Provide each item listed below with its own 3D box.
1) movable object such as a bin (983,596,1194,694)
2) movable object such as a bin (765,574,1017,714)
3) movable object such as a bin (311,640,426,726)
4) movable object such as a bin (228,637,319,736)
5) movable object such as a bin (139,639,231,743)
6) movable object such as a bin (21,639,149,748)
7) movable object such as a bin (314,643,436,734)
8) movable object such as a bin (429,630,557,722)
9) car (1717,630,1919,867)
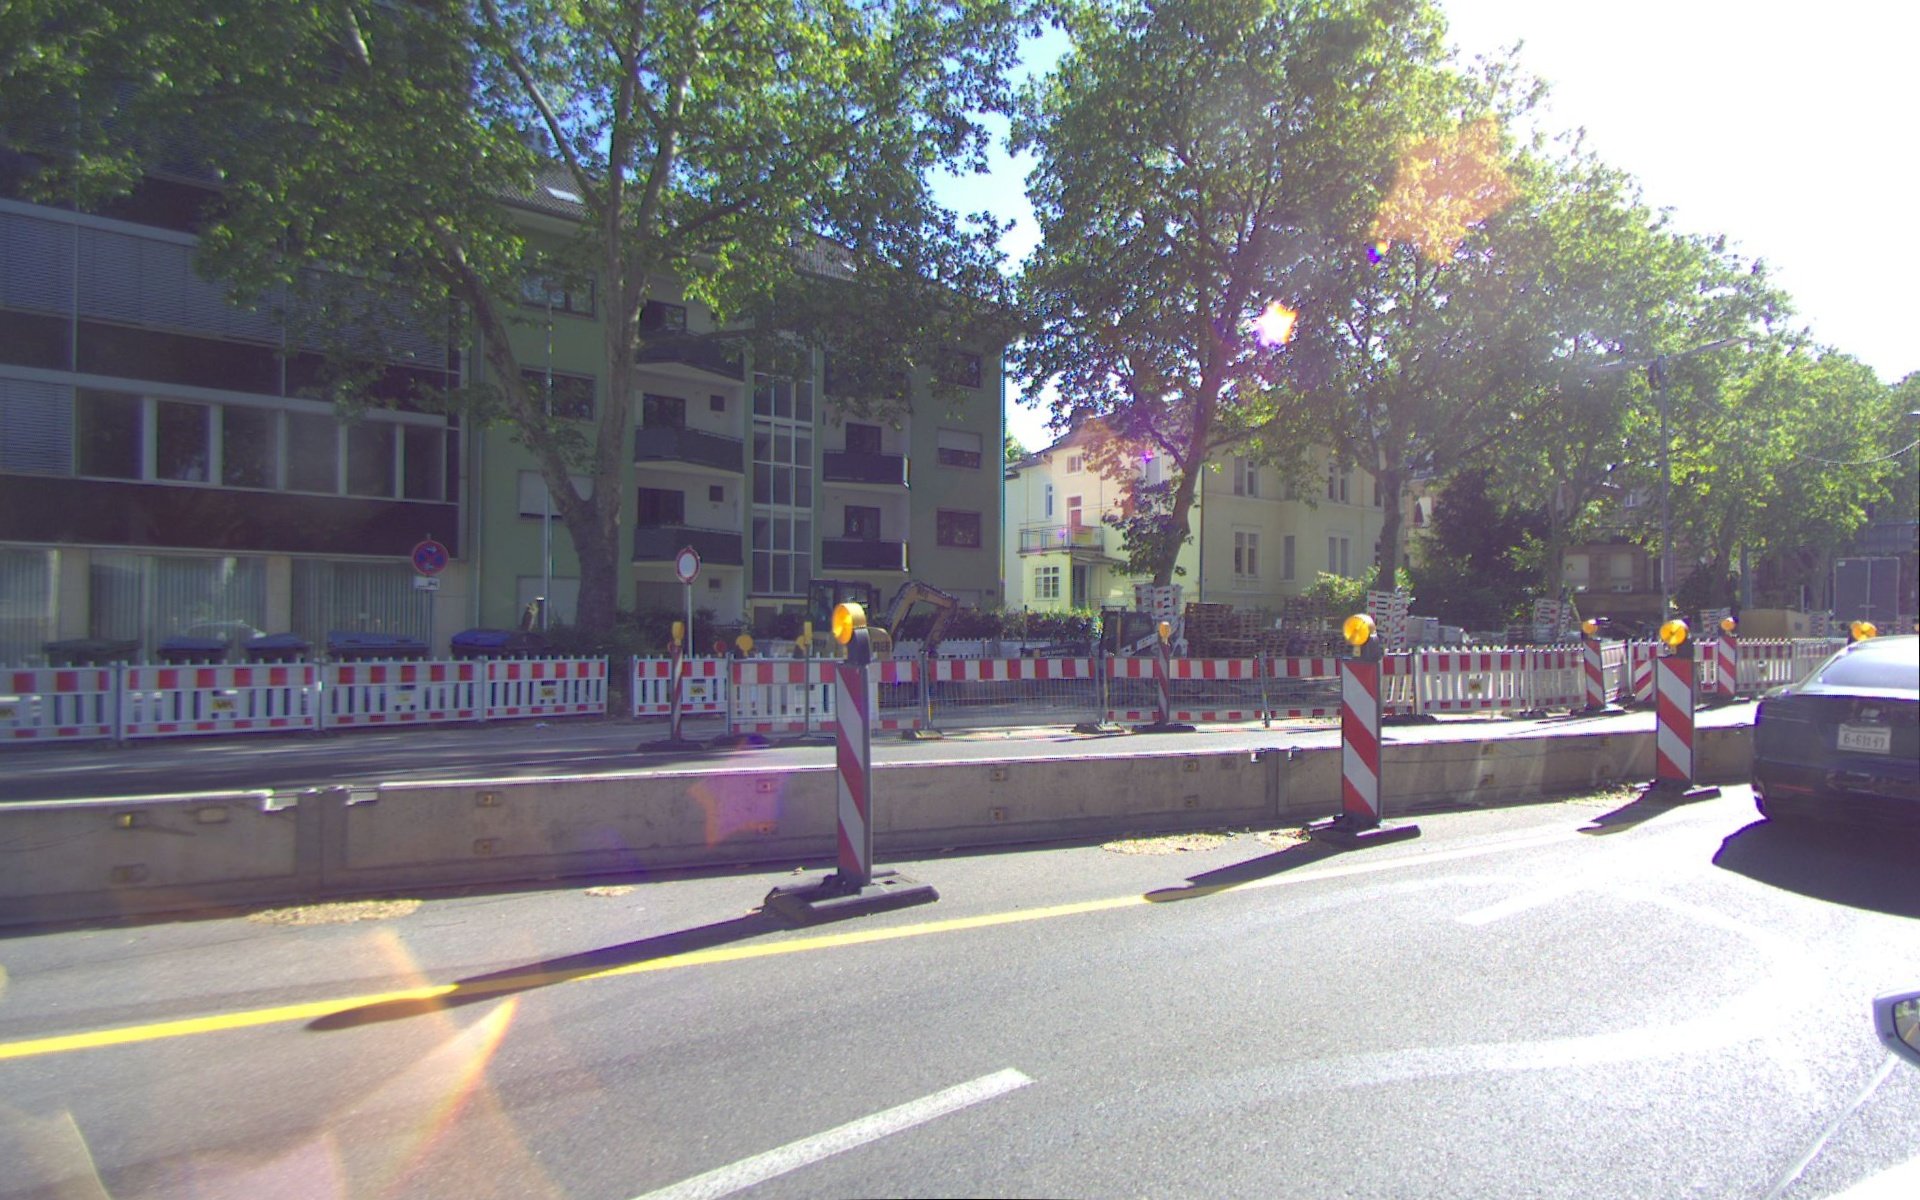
[{"bbox_3d":[3.391,1.138,25.906,5.542,2.308,1.981,1,-2,-35],"label":"movable object such as a bin"},{"bbox_3d":[-1.412,0.913,22.103,5.311,2.742,2.128,1,-1,-40],"label":"movable object such as a bin"},{"bbox_3d":[-9.654,1.318,16.398,1.526,1.287,0.972,1,-1,-37],"label":"movable object such as a bin"},{"bbox_3d":[-10.238,1.246,15.001,1.058,1.355,1.401,1,-1,-35],"label":"movable object such as a bin"},{"bbox_3d":[-10.986,1.244,14.288,0.926,1.355,1.401,1,-1,-34],"label":"movable object such as a bin"},{"bbox_3d":[-11.953,1.238,13.789,1.145,1.355,1.401,1,-1,-34],"label":"movable object such as a bin"},{"bbox_3d":[-9.065,1.329,15.578,1.526,1.287,0.972,1,-1,-37],"label":"movable object such as a bin"},{"bbox_3d":[-7.930,1.251,17.090,1.605,1.441,1.261,0,-1,28],"label":"movable object such as a bin"},{"bbox_3d":[7.763,0.963,7.479,4.574,1.430,1.915,1,-1,-32],"label":"car"}]
